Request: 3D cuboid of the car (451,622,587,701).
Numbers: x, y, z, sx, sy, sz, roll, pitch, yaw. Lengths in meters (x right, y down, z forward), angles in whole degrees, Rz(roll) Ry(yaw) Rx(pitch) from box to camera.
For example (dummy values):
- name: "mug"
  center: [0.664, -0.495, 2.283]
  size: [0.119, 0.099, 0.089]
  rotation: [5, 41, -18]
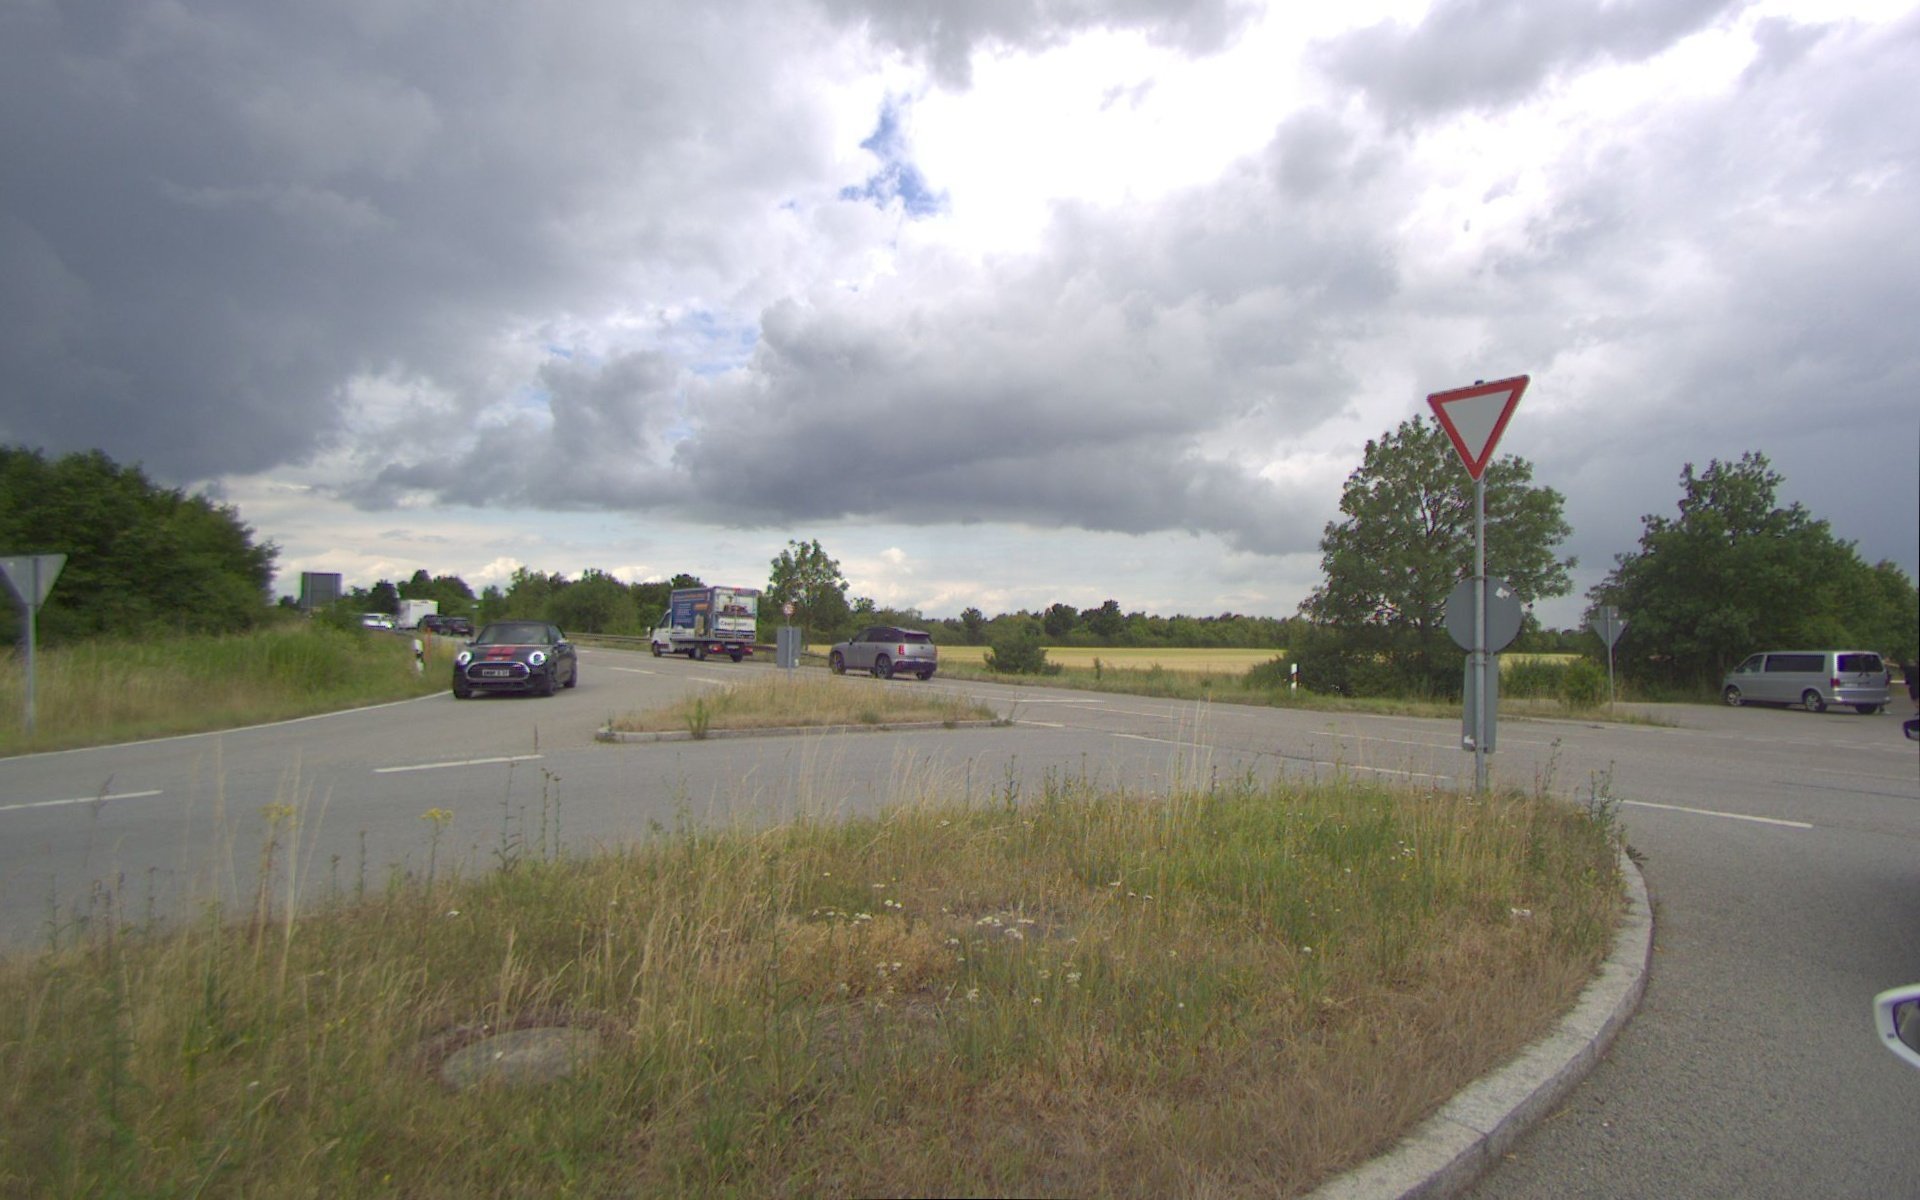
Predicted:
- name: "car"
  center: [-8.567, 1.143, 19.865]
  size: [1.645, 1.370, 4.160]
  rotation: [0, -1, -12]

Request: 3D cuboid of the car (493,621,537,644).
- name: "car"
  center: [-31.326, 2.279, 70.680]
  size: [1.833, 1.545, 3.956]
  rotation: [2, -2, -39]

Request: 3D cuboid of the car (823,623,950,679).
- name: "car"
  center: [-2.471, 1.639, 32.897]
  size: [1.985, 1.644, 4.211]
  rotation: [6, -5, -40]

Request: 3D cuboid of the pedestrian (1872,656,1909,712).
- name: "pedestrian"
  center: [29.641, 2.673, 32.008]
  size: [0.725, 1.745, 0.697]
  rotation: [2, -2, -32]

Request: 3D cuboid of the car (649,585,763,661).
- name: "car"
  center: [-11.463, 1.070, 44.967]
  size: [2.322, 3.068, 6.484]
  rotation: [5, -5, -39]

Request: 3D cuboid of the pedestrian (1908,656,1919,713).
- name: "pedestrian"
  center: [30.596, 2.690, 31.982]
  size: [0.637, 1.769, 0.486]
  rotation: [2, -2, -36]

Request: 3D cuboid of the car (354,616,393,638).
- name: "car"
  center: [-42.152, 1.939, 72.171]
  size: [1.757, 1.470, 4.342]
  rotation: [3, -3, -39]

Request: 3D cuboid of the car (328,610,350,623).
- name: "car"
  center: [-78.412, 2.147, 126.847]
  size: [1.783, 1.572, 3.953]
  rotation: [2, -3, -40]

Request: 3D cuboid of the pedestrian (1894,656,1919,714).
- name: "pedestrian"
  center: [29.366, 2.622, 30.938]
  size: [0.784, 1.745, 0.718]
  rotation: [2, -2, -36]

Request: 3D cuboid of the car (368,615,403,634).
- name: "car"
  center: [-60.706, 2.565, 106.091]
  size: [2.322, 1.947, 4.819]
  rotation: [2, -3, -40]

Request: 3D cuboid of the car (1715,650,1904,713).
- name: "car"
  center: [28.283, 2.663, 33.717]
  size: [2.071, 1.910, 5.103]
  rotation: [0, -2, 1]

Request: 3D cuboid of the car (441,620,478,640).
- name: "car"
  center: [-40.200, 2.422, 80.674]
  size: [1.833, 1.545, 3.955]
  rotation: [2, -3, -39]

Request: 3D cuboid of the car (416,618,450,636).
- name: "car"
  center: [-45.451, 2.326, 86.580]
  size: [1.832, 1.545, 3.956]
  rotation: [2, -2, -38]

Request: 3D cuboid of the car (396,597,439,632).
- name: "car"
  center: [-50.790, 1.409, 93.934]
  size: [2.322, 3.069, 6.483]
  rotation: [2, -2, -40]

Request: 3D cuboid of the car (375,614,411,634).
- name: "car"
  center: [-57.022, 2.400, 101.026]
  size: [2.321, 1.947, 4.820]
  rotation: [2, -3, -39]
